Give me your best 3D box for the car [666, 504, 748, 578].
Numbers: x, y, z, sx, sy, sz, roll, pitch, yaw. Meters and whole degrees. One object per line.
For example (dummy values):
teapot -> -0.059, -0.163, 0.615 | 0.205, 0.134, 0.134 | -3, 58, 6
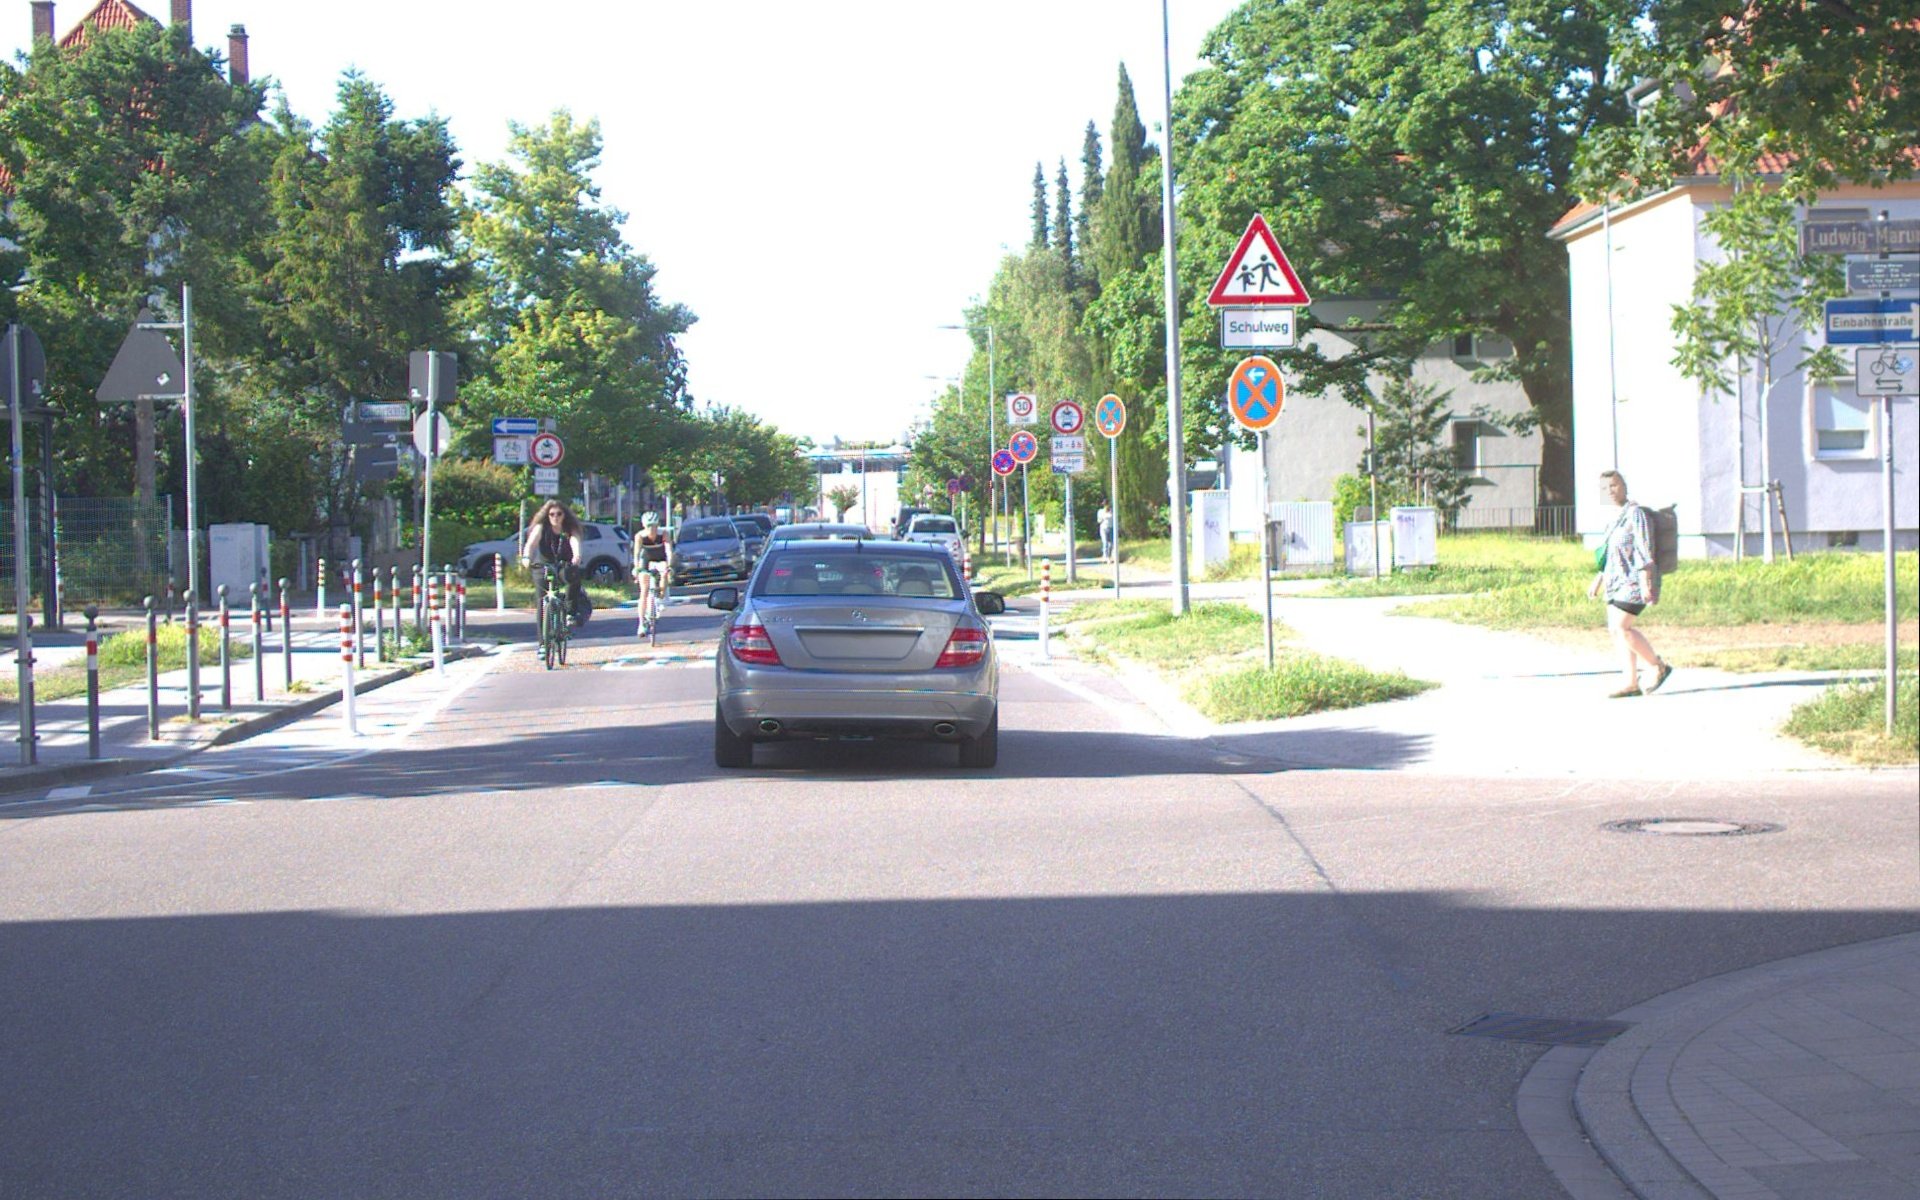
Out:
car -> -6.225, -1.469, 84.264 | 1.872, 1.722, 4.001 | -2, 2, -6

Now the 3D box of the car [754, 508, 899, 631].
car -> -1.666, -0.370, 43.031 | 1.707, 1.443, 4.203 | 1, 0, -2

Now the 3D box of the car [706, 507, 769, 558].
car -> -7.003, -2.124, 107.866 | 1.787, 1.527, 4.001 | -2, 1, -6

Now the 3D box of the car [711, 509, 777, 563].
car -> -6.478, -1.924, 102.892 | 1.787, 1.527, 4.001 | -2, 1, -6

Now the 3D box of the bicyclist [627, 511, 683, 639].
bicyclist -> -3.646, -0.304, 41.128 | 0.572, 1.504, 0.655 | -1, 1, 0

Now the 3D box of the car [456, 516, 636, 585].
car -> -9.509, -1.133, 79.180 | 3.986, 1.518, 1.757 | 1, 0, -3

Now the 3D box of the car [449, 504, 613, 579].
car -> -9.434, -1.289, 75.624 | 3.493, 1.528, 1.645 | -2, 1, -8

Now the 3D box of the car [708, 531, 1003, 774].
car -> -0.627, 0.304, 22.283 | 1.726, 1.415, 3.960 | 1, 0, 0

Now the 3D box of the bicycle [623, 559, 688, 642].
bicycle -> -3.633, -0.007, 41.085 | 0.589, 0.928, 1.850 | -1, 1, 0

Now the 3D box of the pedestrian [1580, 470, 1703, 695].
pedestrian -> 4.986, -0.132, 25.151 | 0.647, 1.617, 0.616 | -1, 2, 37

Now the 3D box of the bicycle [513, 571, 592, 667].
bicycle -> -4.270, 0.186, 36.130 | 0.589, 0.928, 1.850 | -1, 1, 0

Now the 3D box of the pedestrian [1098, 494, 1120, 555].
pedestrian -> 3.831, -1.928, 88.393 | 0.509, 1.554, 0.643 | 1, 0, 0

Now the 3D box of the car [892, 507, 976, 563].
car -> -0.687, -1.652, 86.974 | 1.722, 1.325, 4.001 | -2, 1, -6

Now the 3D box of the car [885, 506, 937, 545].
car -> -2.052, -3.095, 142.808 | 1.787, 1.527, 4.001 | -2, 1, -6

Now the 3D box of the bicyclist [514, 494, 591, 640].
bicyclist -> -4.282, -0.356, 36.156 | 0.680, 1.504, 0.655 | -1, 1, 0
